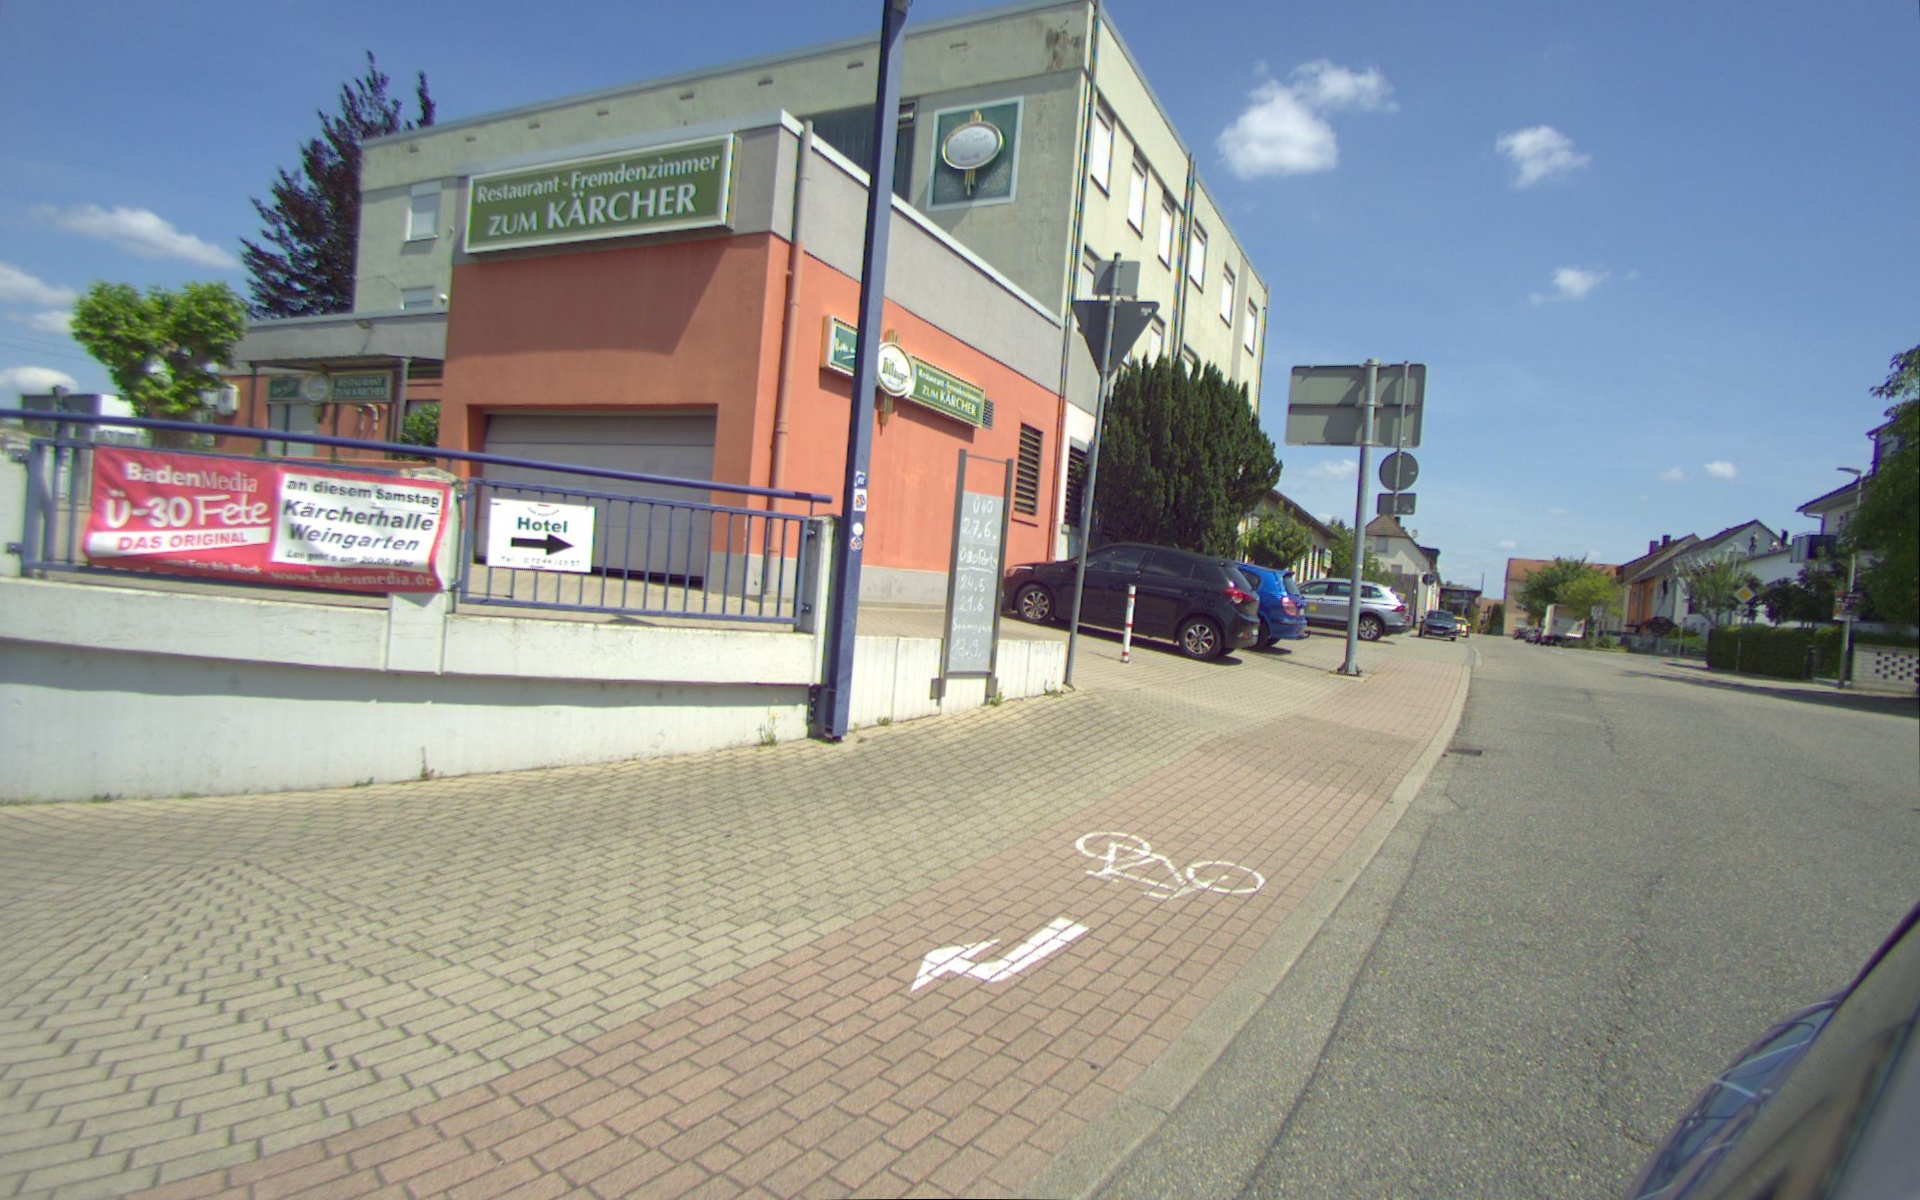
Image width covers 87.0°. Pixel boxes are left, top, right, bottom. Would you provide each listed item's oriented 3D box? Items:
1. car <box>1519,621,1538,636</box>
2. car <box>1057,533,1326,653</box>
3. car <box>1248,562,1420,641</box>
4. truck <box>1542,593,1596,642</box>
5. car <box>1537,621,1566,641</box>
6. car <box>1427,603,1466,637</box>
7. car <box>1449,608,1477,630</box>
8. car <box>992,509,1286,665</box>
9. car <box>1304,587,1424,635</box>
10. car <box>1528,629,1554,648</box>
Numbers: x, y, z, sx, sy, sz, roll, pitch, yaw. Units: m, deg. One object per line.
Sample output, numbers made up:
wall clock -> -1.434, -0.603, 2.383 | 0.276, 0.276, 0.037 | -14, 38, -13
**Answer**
car -> 69.480, 3.490, 123.727 | 1.706, 1.518, 4.176 | 8, 2, 26
car -> 4.120, -0.202, 18.177 | 4.300, 1.455, 1.763 | 9, 5, 27
car -> 10.922, 0.021, 29.581 | 4.426, 1.717, 1.905 | 8, 2, 26
truck -> 47.242, 1.338, 78.656 | 2.423, 3.284, 6.976 | 9, 3, 24
car -> 53.215, 2.766, 91.089 | 1.706, 1.518, 4.176 | 8, 2, 26
car -> 24.866, 1.021, 51.747 | 1.617, 1.507, 4.102 | 6, 1, 25
car -> 38.669, 1.487, 77.779 | 1.708, 1.414, 4.174 | 10, 3, 27
car -> 2.688, -0.252, 15.275 | 3.876, 1.506, 1.794 | 13, 6, 26
car -> 17.365, 0.448, 43.543 | 4.503, 1.471, 1.899 | 8, 2, 28
car -> 55.503, 3.696, 96.741 | 1.706, 1.518, 4.176 | 8, 2, 26
